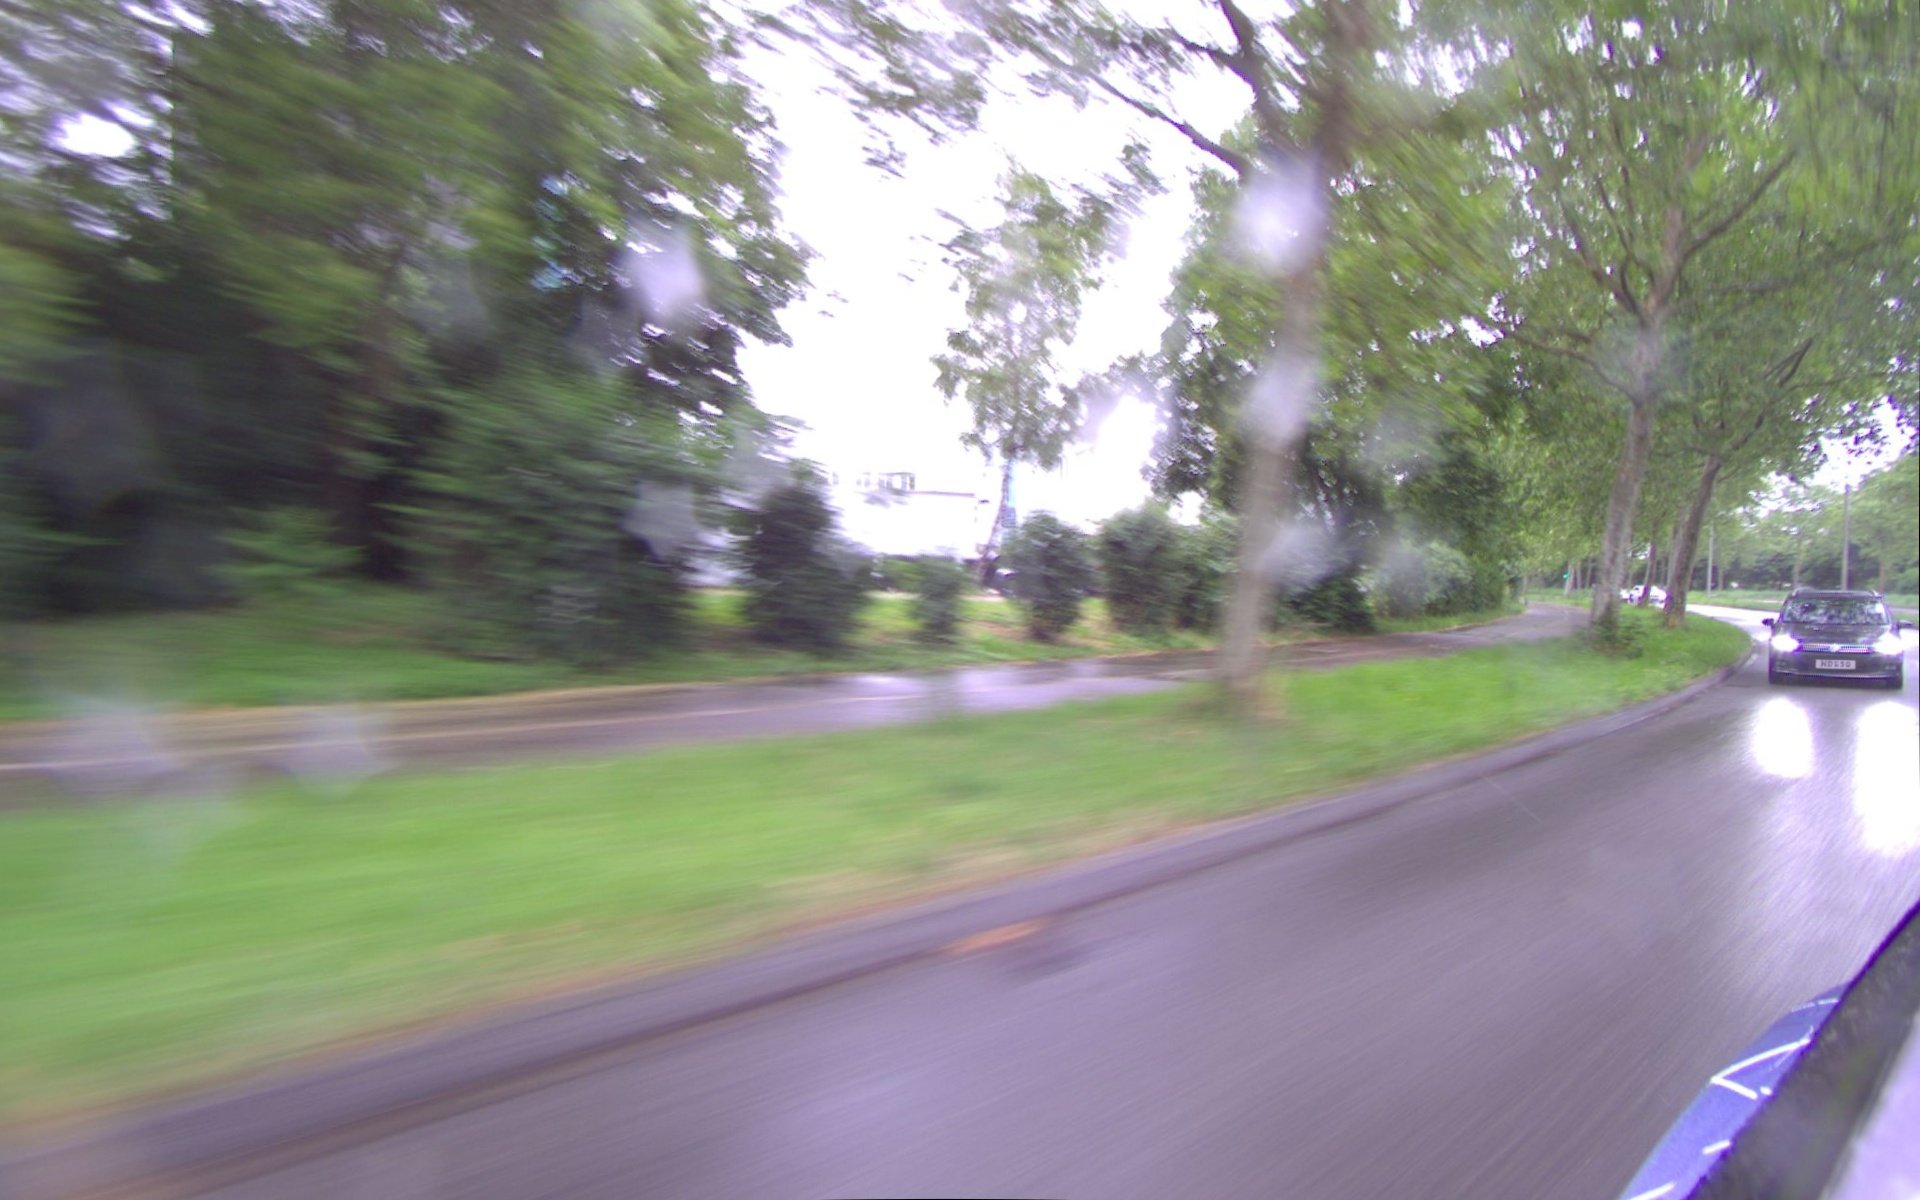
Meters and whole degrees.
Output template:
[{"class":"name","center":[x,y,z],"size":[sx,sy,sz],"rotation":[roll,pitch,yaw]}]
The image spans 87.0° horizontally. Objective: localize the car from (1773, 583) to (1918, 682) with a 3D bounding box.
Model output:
[{"class":"car","center":[15.987,0.525,18.315],"size":[1.778,1.575,3.940],"rotation":[-2,-1,41]}]

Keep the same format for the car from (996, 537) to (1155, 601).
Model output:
[{"class":"car","center":[2.986,-0.771,26.907],"size":[1.737,1.501,4.151],"rotation":[3,-1,-40]}]

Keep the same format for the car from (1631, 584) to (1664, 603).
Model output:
[{"class":"car","center":[57.535,-0.540,84.732],"size":[1.768,1.575,3.962],"rotation":[2,1,27]}]

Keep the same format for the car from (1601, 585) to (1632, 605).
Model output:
[{"class":"car","center":[54.188,-0.388,83.600],"size":[1.769,1.575,3.961],"rotation":[2,1,28]}]
